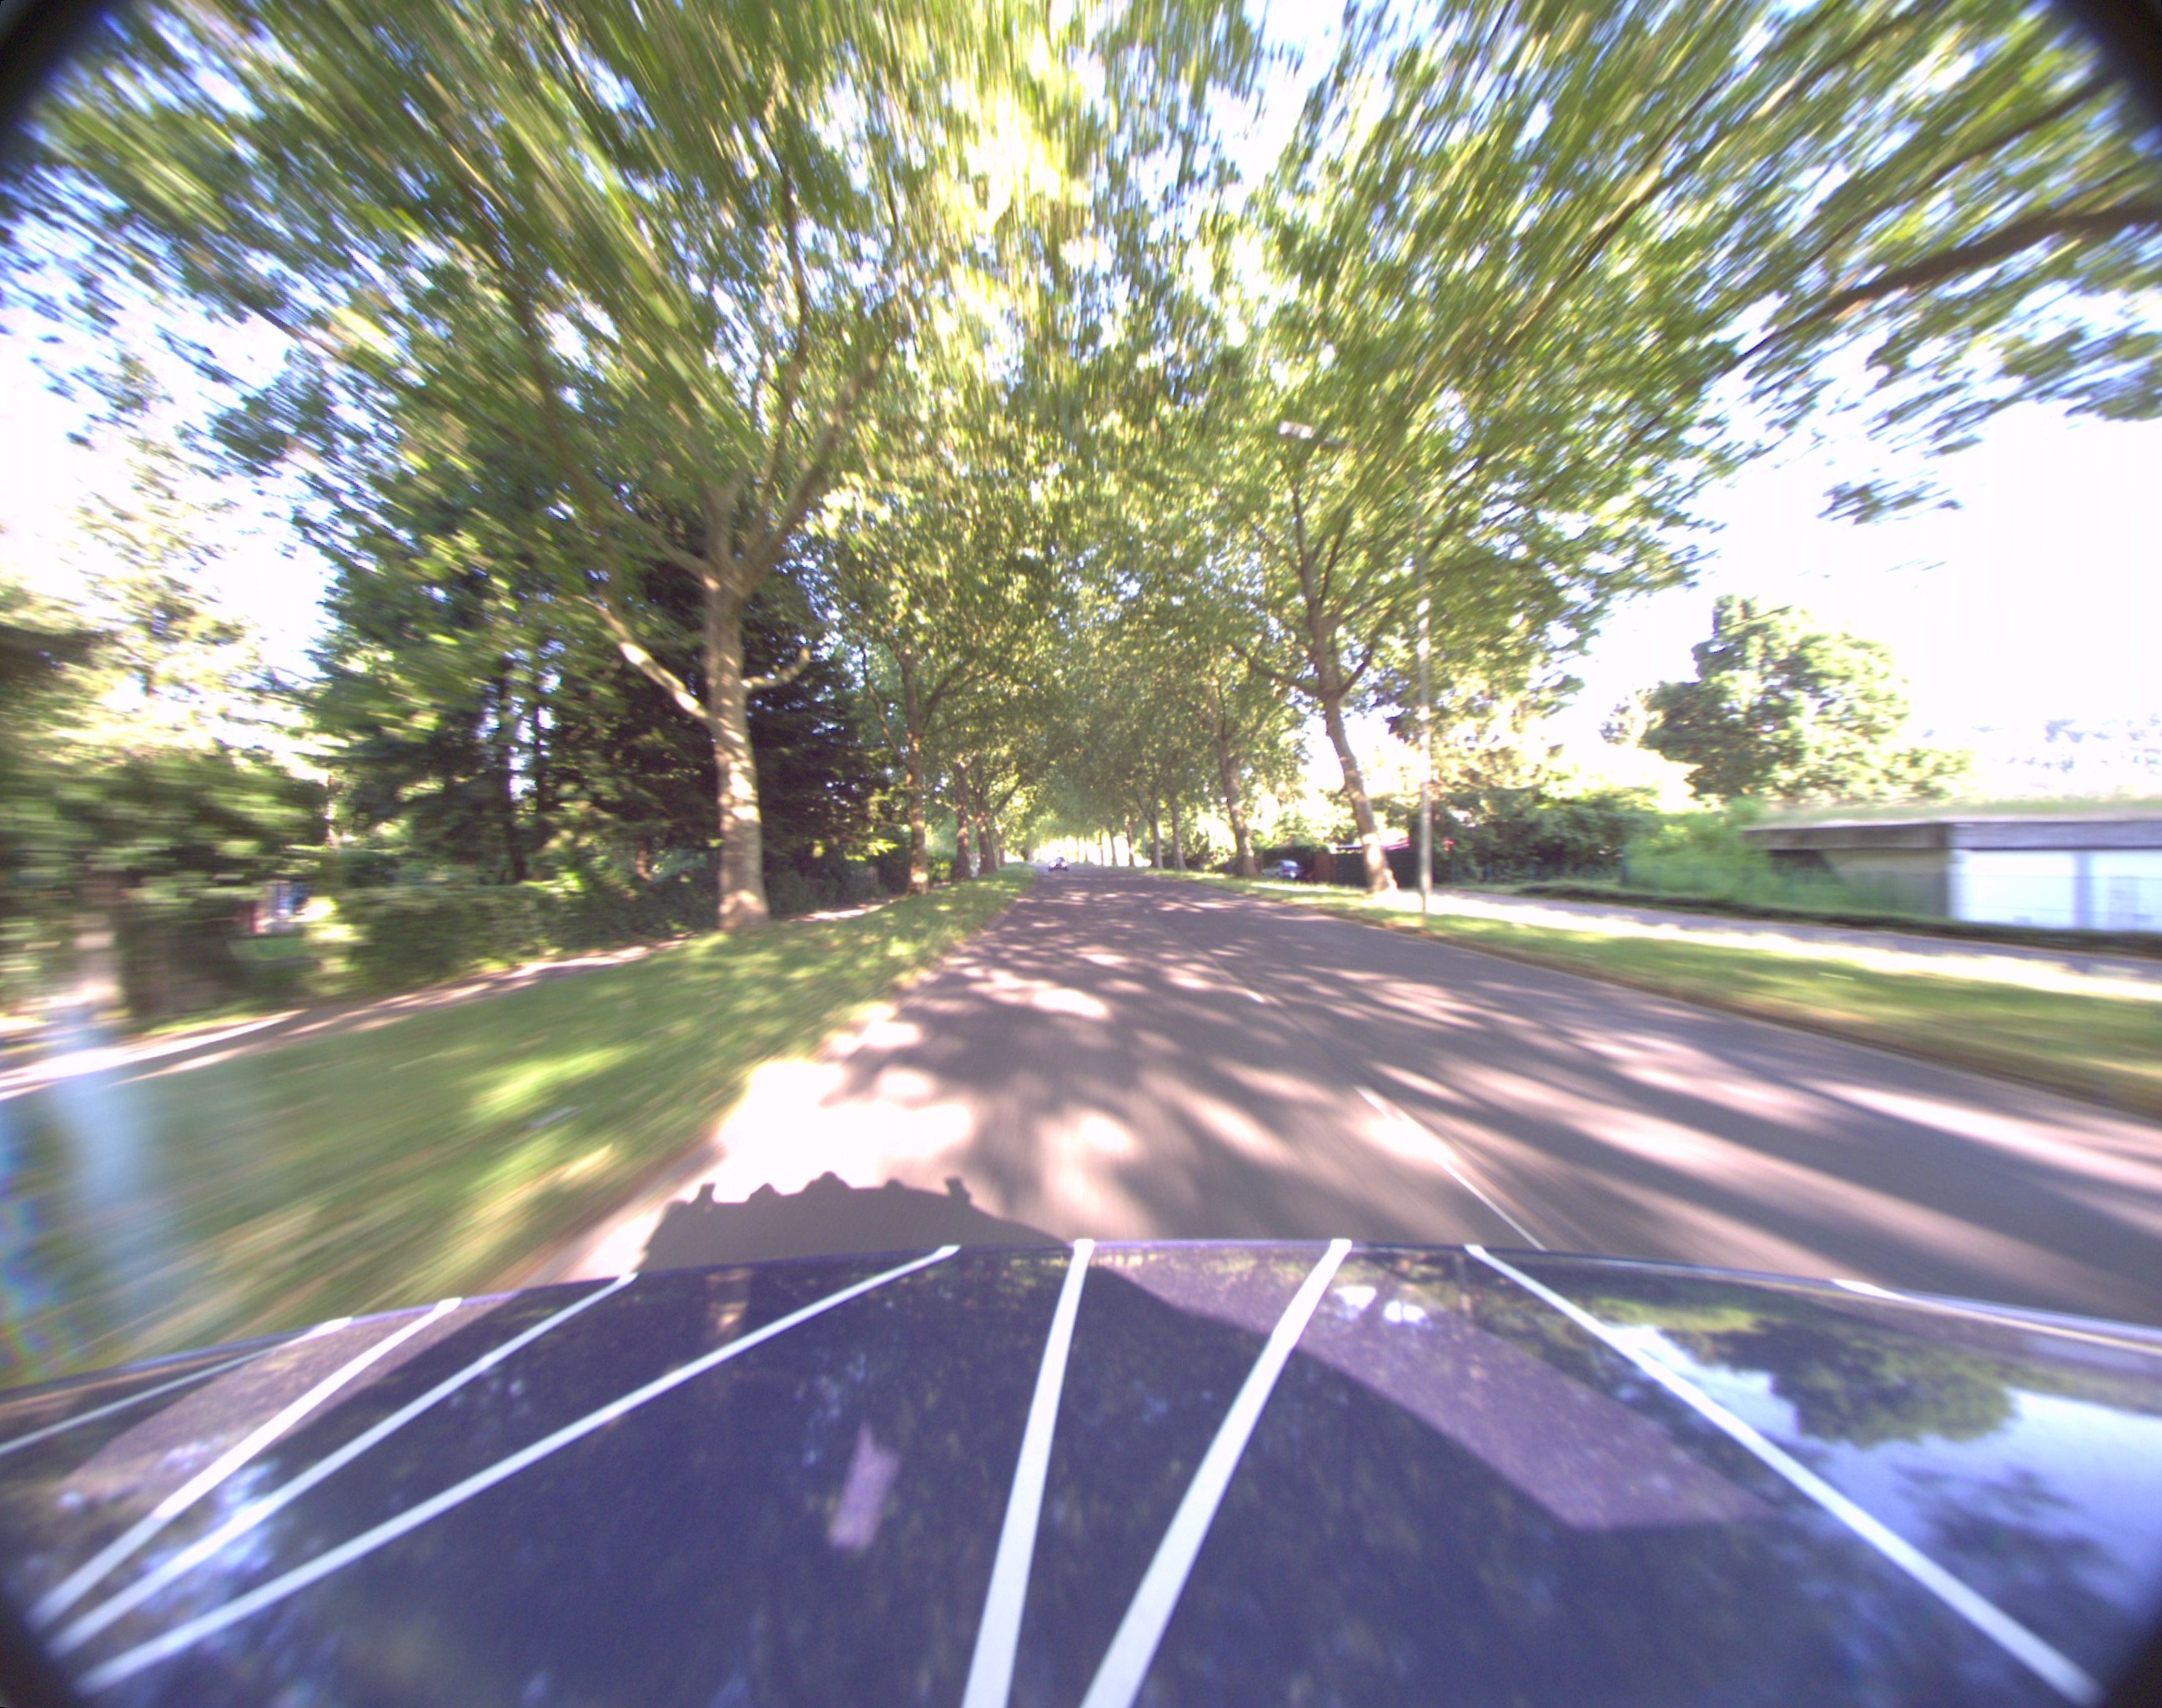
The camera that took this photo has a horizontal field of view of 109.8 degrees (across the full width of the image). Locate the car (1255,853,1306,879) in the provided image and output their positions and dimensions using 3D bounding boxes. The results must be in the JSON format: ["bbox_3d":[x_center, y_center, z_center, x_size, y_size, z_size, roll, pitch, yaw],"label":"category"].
[{"bbox_3d":[12.288,0.717,46.985,1.814,1.521,3.998,0,0,-5],"label":"car"}]
